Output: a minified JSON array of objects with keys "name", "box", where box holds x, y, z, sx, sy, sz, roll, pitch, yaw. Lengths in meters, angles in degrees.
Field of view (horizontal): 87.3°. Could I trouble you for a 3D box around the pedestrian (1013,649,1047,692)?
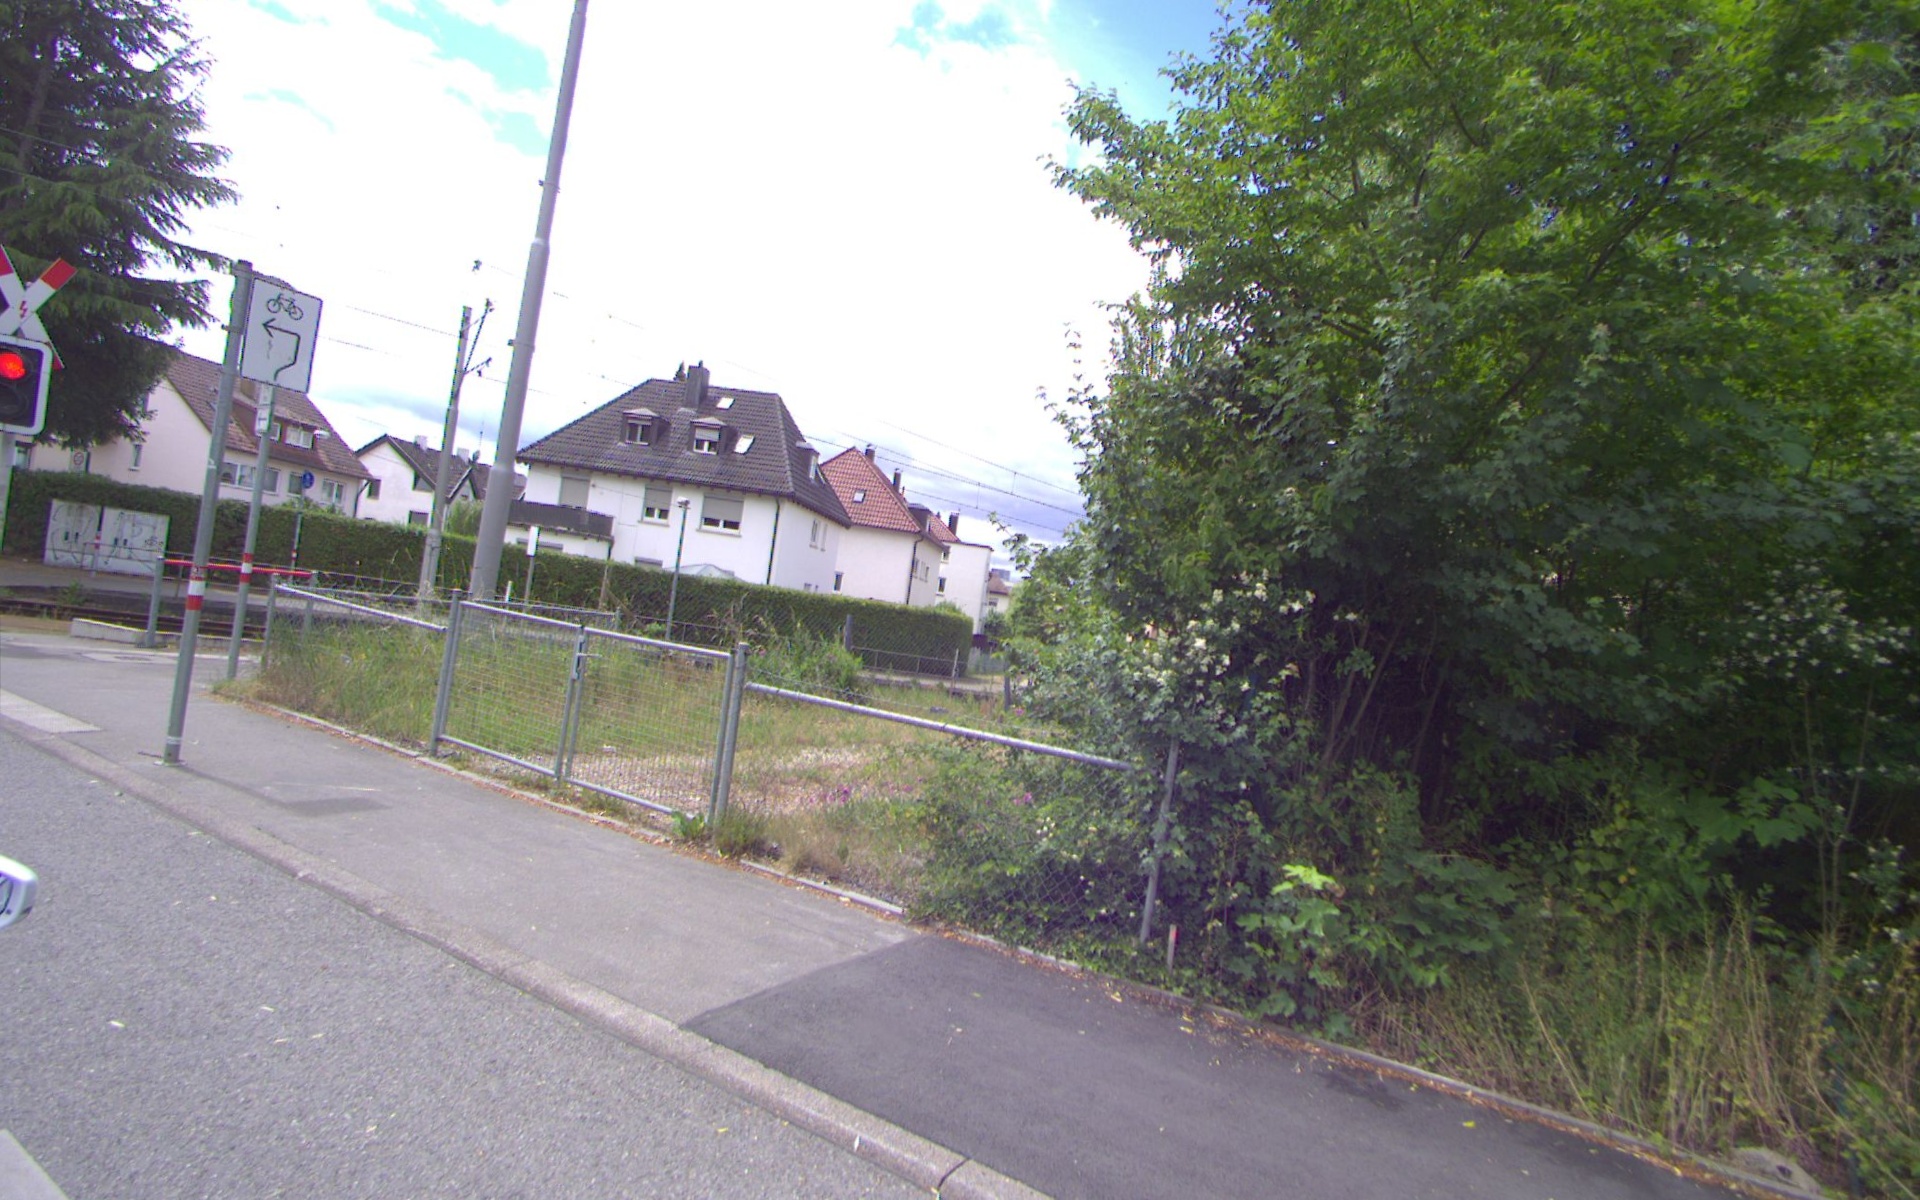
[{"name":"pedestrian","box":[3.068,3.059,43.930,0.910,1.707,0.925,8,-1,-31]}]
